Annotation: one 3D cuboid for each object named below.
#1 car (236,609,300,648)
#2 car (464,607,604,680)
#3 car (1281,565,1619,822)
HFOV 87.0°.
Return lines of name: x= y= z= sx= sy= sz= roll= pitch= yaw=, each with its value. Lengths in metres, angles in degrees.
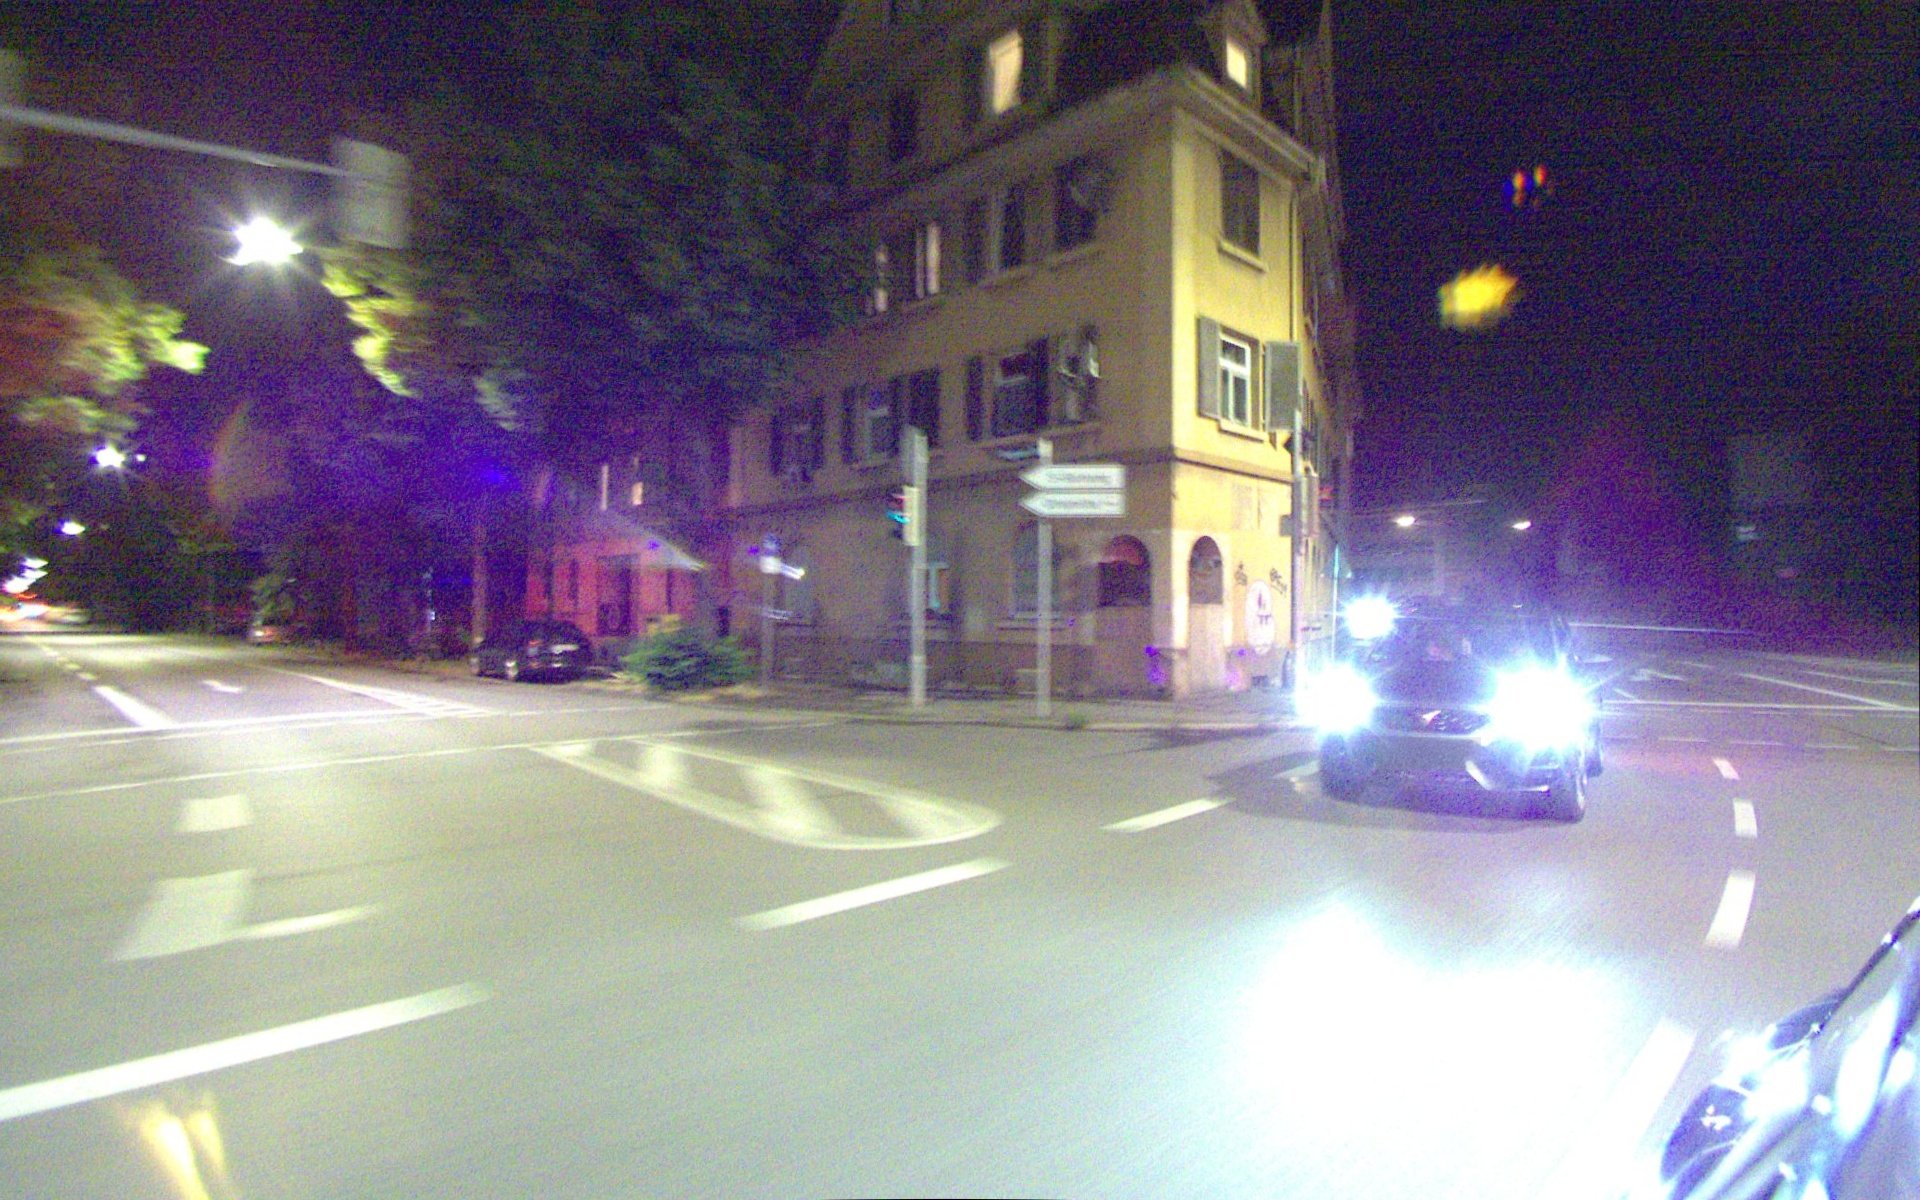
car: x=-33.447 y=1.408 z=48.855 sx=1.966 sy=1.685 sz=3.890 roll=1 pitch=-5 yaw=-43
car: x=-10.313 y=0.993 z=24.373 sx=1.965 sy=1.609 sz=3.992 roll=1 pitch=-1 yaw=-41
car: x=4.362 y=0.592 z=8.661 sx=1.987 sy=1.636 sz=3.949 roll=0 pitch=0 yaw=35
